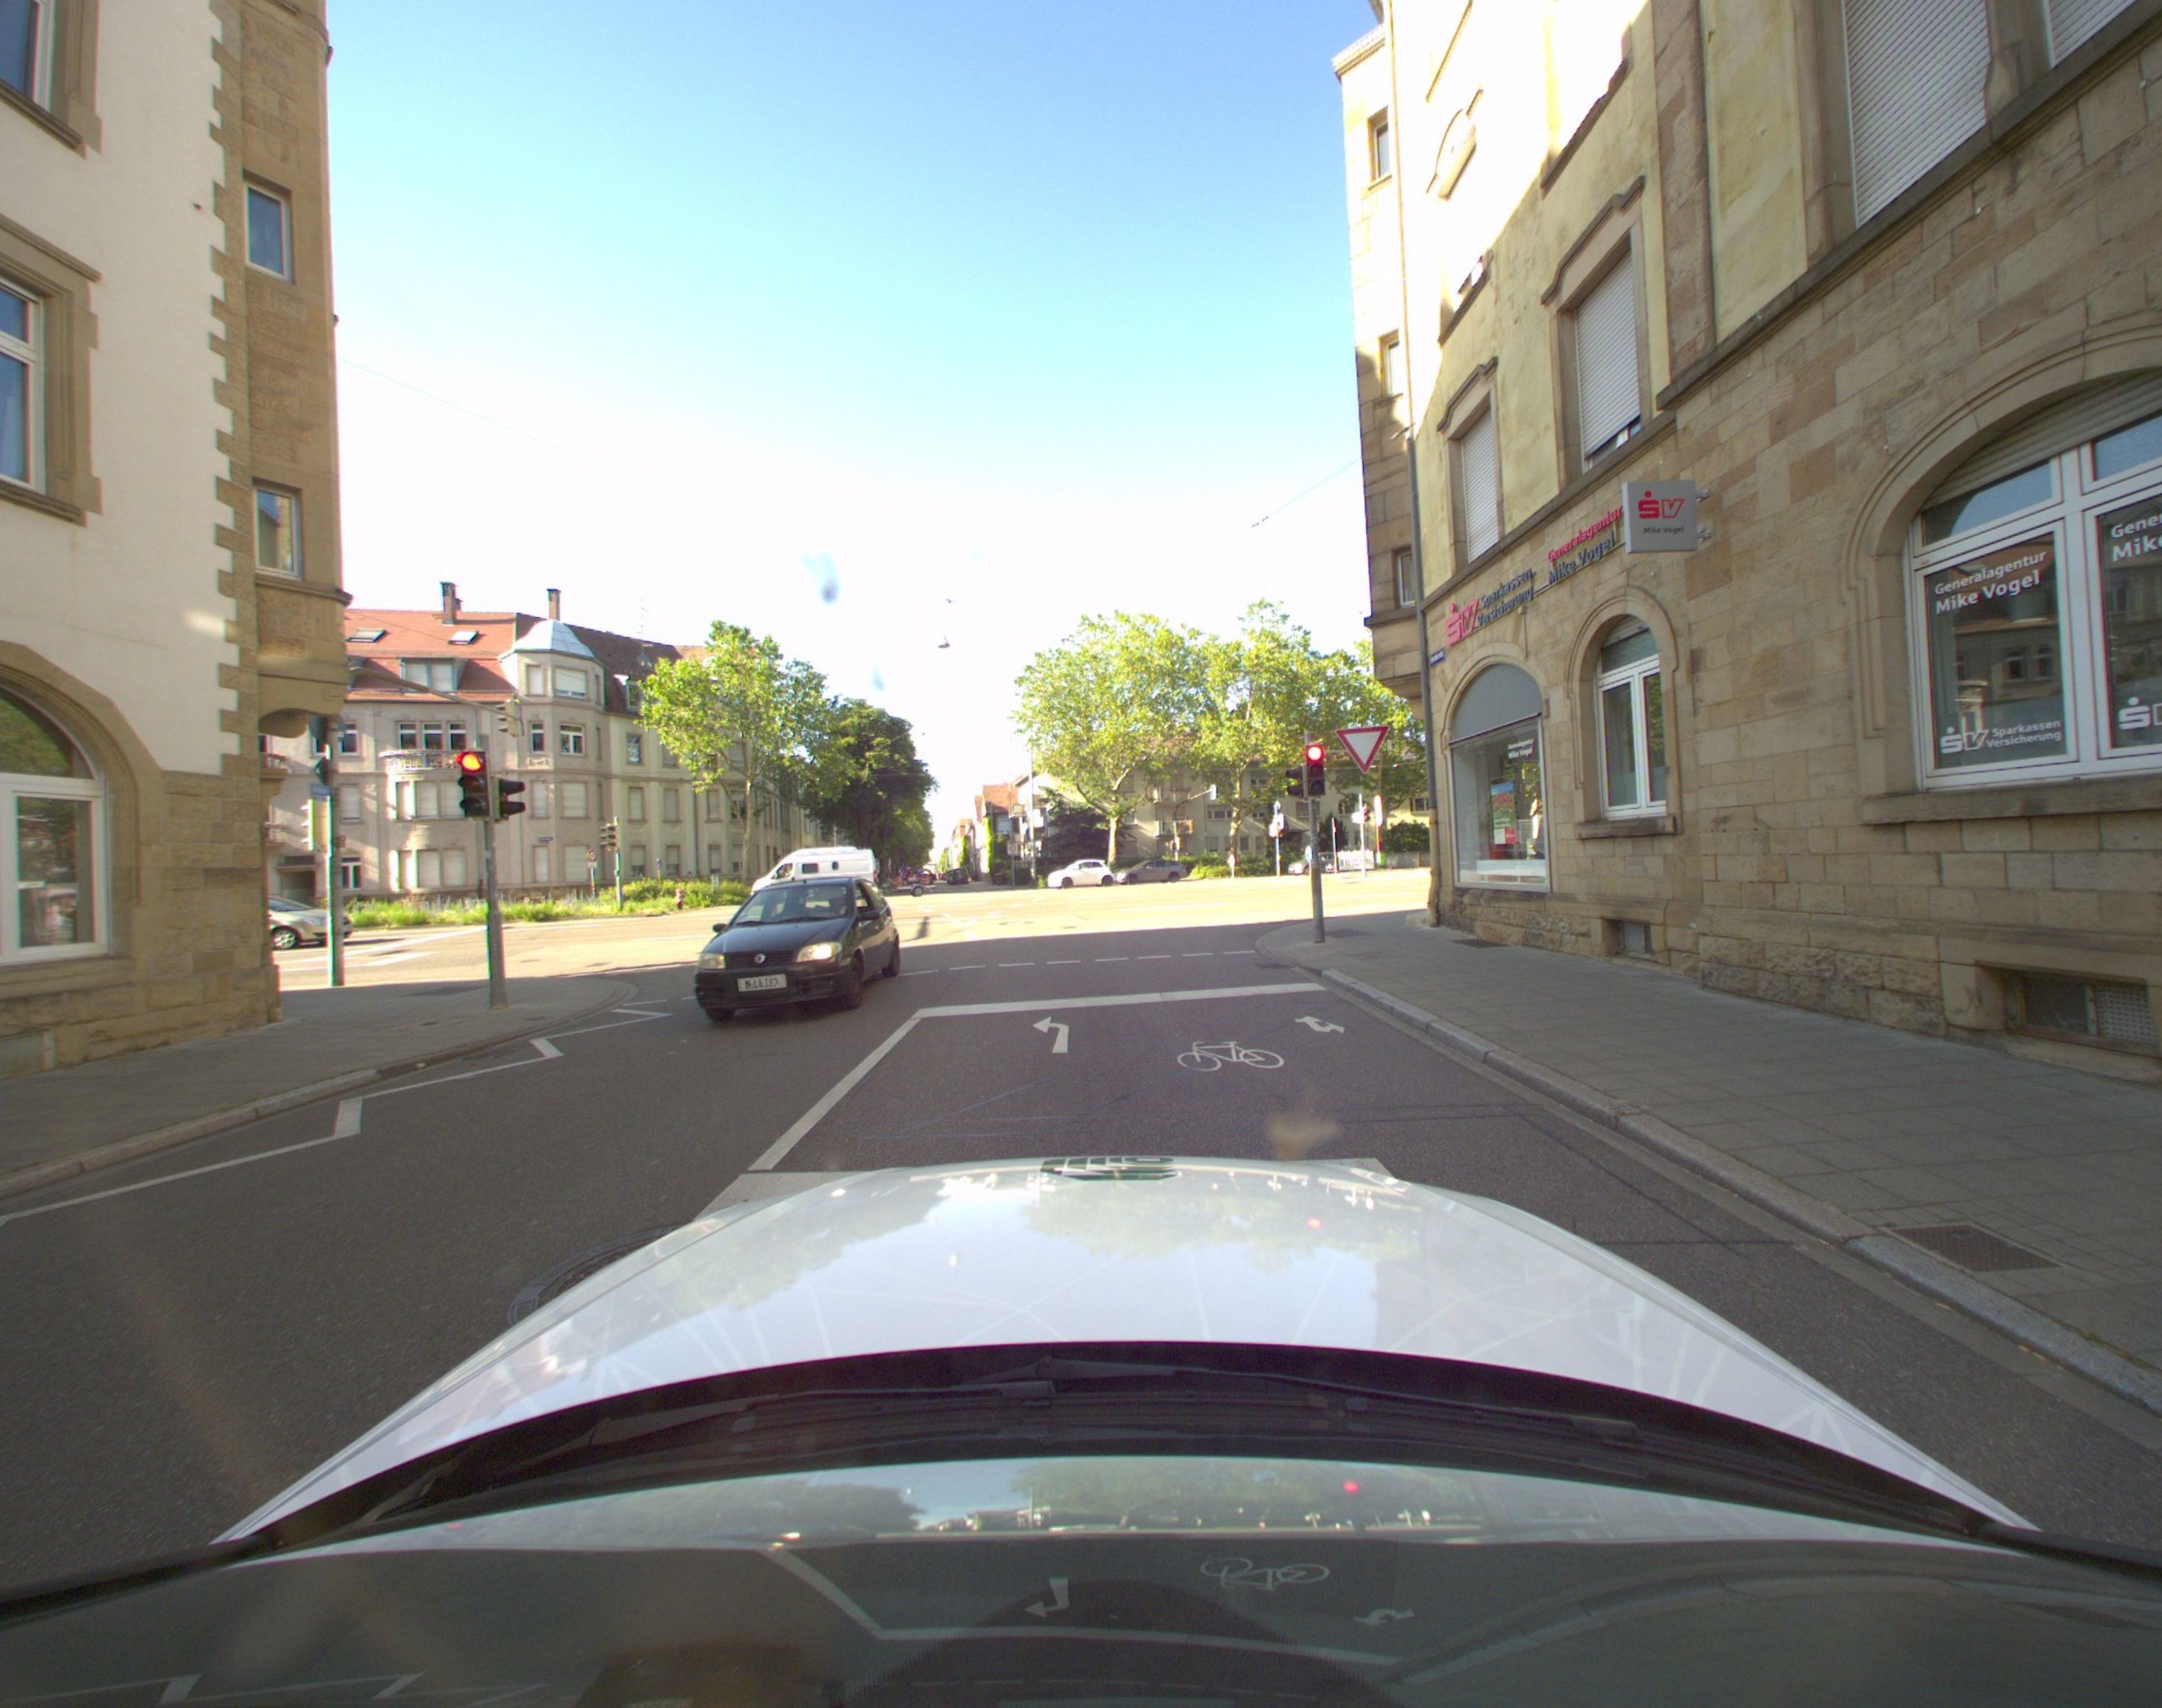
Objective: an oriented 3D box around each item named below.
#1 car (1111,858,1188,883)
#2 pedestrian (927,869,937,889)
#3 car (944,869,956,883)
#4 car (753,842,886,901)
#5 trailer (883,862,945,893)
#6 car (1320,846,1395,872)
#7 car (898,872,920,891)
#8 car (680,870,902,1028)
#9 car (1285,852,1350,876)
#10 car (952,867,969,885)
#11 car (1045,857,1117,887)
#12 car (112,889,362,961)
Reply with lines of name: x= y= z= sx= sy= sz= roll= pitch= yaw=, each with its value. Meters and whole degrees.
car: x=4.185 y=0.981 z=49.855 sx=4.399 sy=1.316 sz=1.636 roll=-2 pitch=0 yaw=-18
pedestrian: x=-10.847 y=1.799 z=59.228 sx=0.703 sy=1.442 sz=0.488 roll=0 pitch=-1 yaw=-11
car: x=-20.748 y=3.487 z=128.818 sx=1.773 sy=1.918 sz=3.522 roll=-4 pitch=0 yaw=-10
car: x=-13.017 y=0.844 z=40.855 sx=6.123 sy=2.637 sz=1.884 roll=-2 pitch=-1 yaw=-17
trailer: x=-8.685 y=1.187 z=42.322 sx=2.955 sy=1.457 sz=1.505 roll=-2 pitch=0 yaw=-18
car: x=16.992 y=0.319 z=50.090 sx=4.281 sy=1.400 sz=1.635 roll=-2 pitch=0 yaw=-20
car: x=-14.955 y=2.356 z=70.899 sx=1.698 sy=1.483 sz=3.522 roll=-4 pitch=0 yaw=-10
car: x=-3.286 y=0.974 z=9.946 sx=1.650 sy=1.457 sz=3.636 roll=-2 pitch=0 yaw=-5
car: x=15.344 y=0.659 z=52.799 sx=3.793 sy=1.400 sz=1.635 roll=-2 pitch=0 yaw=-20
car: x=-14.128 y=2.516 z=95.021 sx=1.773 sy=1.918 sz=3.522 roll=-4 pitch=0 yaw=-10
car: x=-0.018 y=0.992 z=44.909 sx=3.641 sy=1.457 sz=1.494 roll=-2 pitch=0 yaw=-18
car: x=-21.957 y=1.809 z=21.403 sx=4.212 sy=1.456 sz=1.669 roll=-3 pitch=0 yaw=-17
